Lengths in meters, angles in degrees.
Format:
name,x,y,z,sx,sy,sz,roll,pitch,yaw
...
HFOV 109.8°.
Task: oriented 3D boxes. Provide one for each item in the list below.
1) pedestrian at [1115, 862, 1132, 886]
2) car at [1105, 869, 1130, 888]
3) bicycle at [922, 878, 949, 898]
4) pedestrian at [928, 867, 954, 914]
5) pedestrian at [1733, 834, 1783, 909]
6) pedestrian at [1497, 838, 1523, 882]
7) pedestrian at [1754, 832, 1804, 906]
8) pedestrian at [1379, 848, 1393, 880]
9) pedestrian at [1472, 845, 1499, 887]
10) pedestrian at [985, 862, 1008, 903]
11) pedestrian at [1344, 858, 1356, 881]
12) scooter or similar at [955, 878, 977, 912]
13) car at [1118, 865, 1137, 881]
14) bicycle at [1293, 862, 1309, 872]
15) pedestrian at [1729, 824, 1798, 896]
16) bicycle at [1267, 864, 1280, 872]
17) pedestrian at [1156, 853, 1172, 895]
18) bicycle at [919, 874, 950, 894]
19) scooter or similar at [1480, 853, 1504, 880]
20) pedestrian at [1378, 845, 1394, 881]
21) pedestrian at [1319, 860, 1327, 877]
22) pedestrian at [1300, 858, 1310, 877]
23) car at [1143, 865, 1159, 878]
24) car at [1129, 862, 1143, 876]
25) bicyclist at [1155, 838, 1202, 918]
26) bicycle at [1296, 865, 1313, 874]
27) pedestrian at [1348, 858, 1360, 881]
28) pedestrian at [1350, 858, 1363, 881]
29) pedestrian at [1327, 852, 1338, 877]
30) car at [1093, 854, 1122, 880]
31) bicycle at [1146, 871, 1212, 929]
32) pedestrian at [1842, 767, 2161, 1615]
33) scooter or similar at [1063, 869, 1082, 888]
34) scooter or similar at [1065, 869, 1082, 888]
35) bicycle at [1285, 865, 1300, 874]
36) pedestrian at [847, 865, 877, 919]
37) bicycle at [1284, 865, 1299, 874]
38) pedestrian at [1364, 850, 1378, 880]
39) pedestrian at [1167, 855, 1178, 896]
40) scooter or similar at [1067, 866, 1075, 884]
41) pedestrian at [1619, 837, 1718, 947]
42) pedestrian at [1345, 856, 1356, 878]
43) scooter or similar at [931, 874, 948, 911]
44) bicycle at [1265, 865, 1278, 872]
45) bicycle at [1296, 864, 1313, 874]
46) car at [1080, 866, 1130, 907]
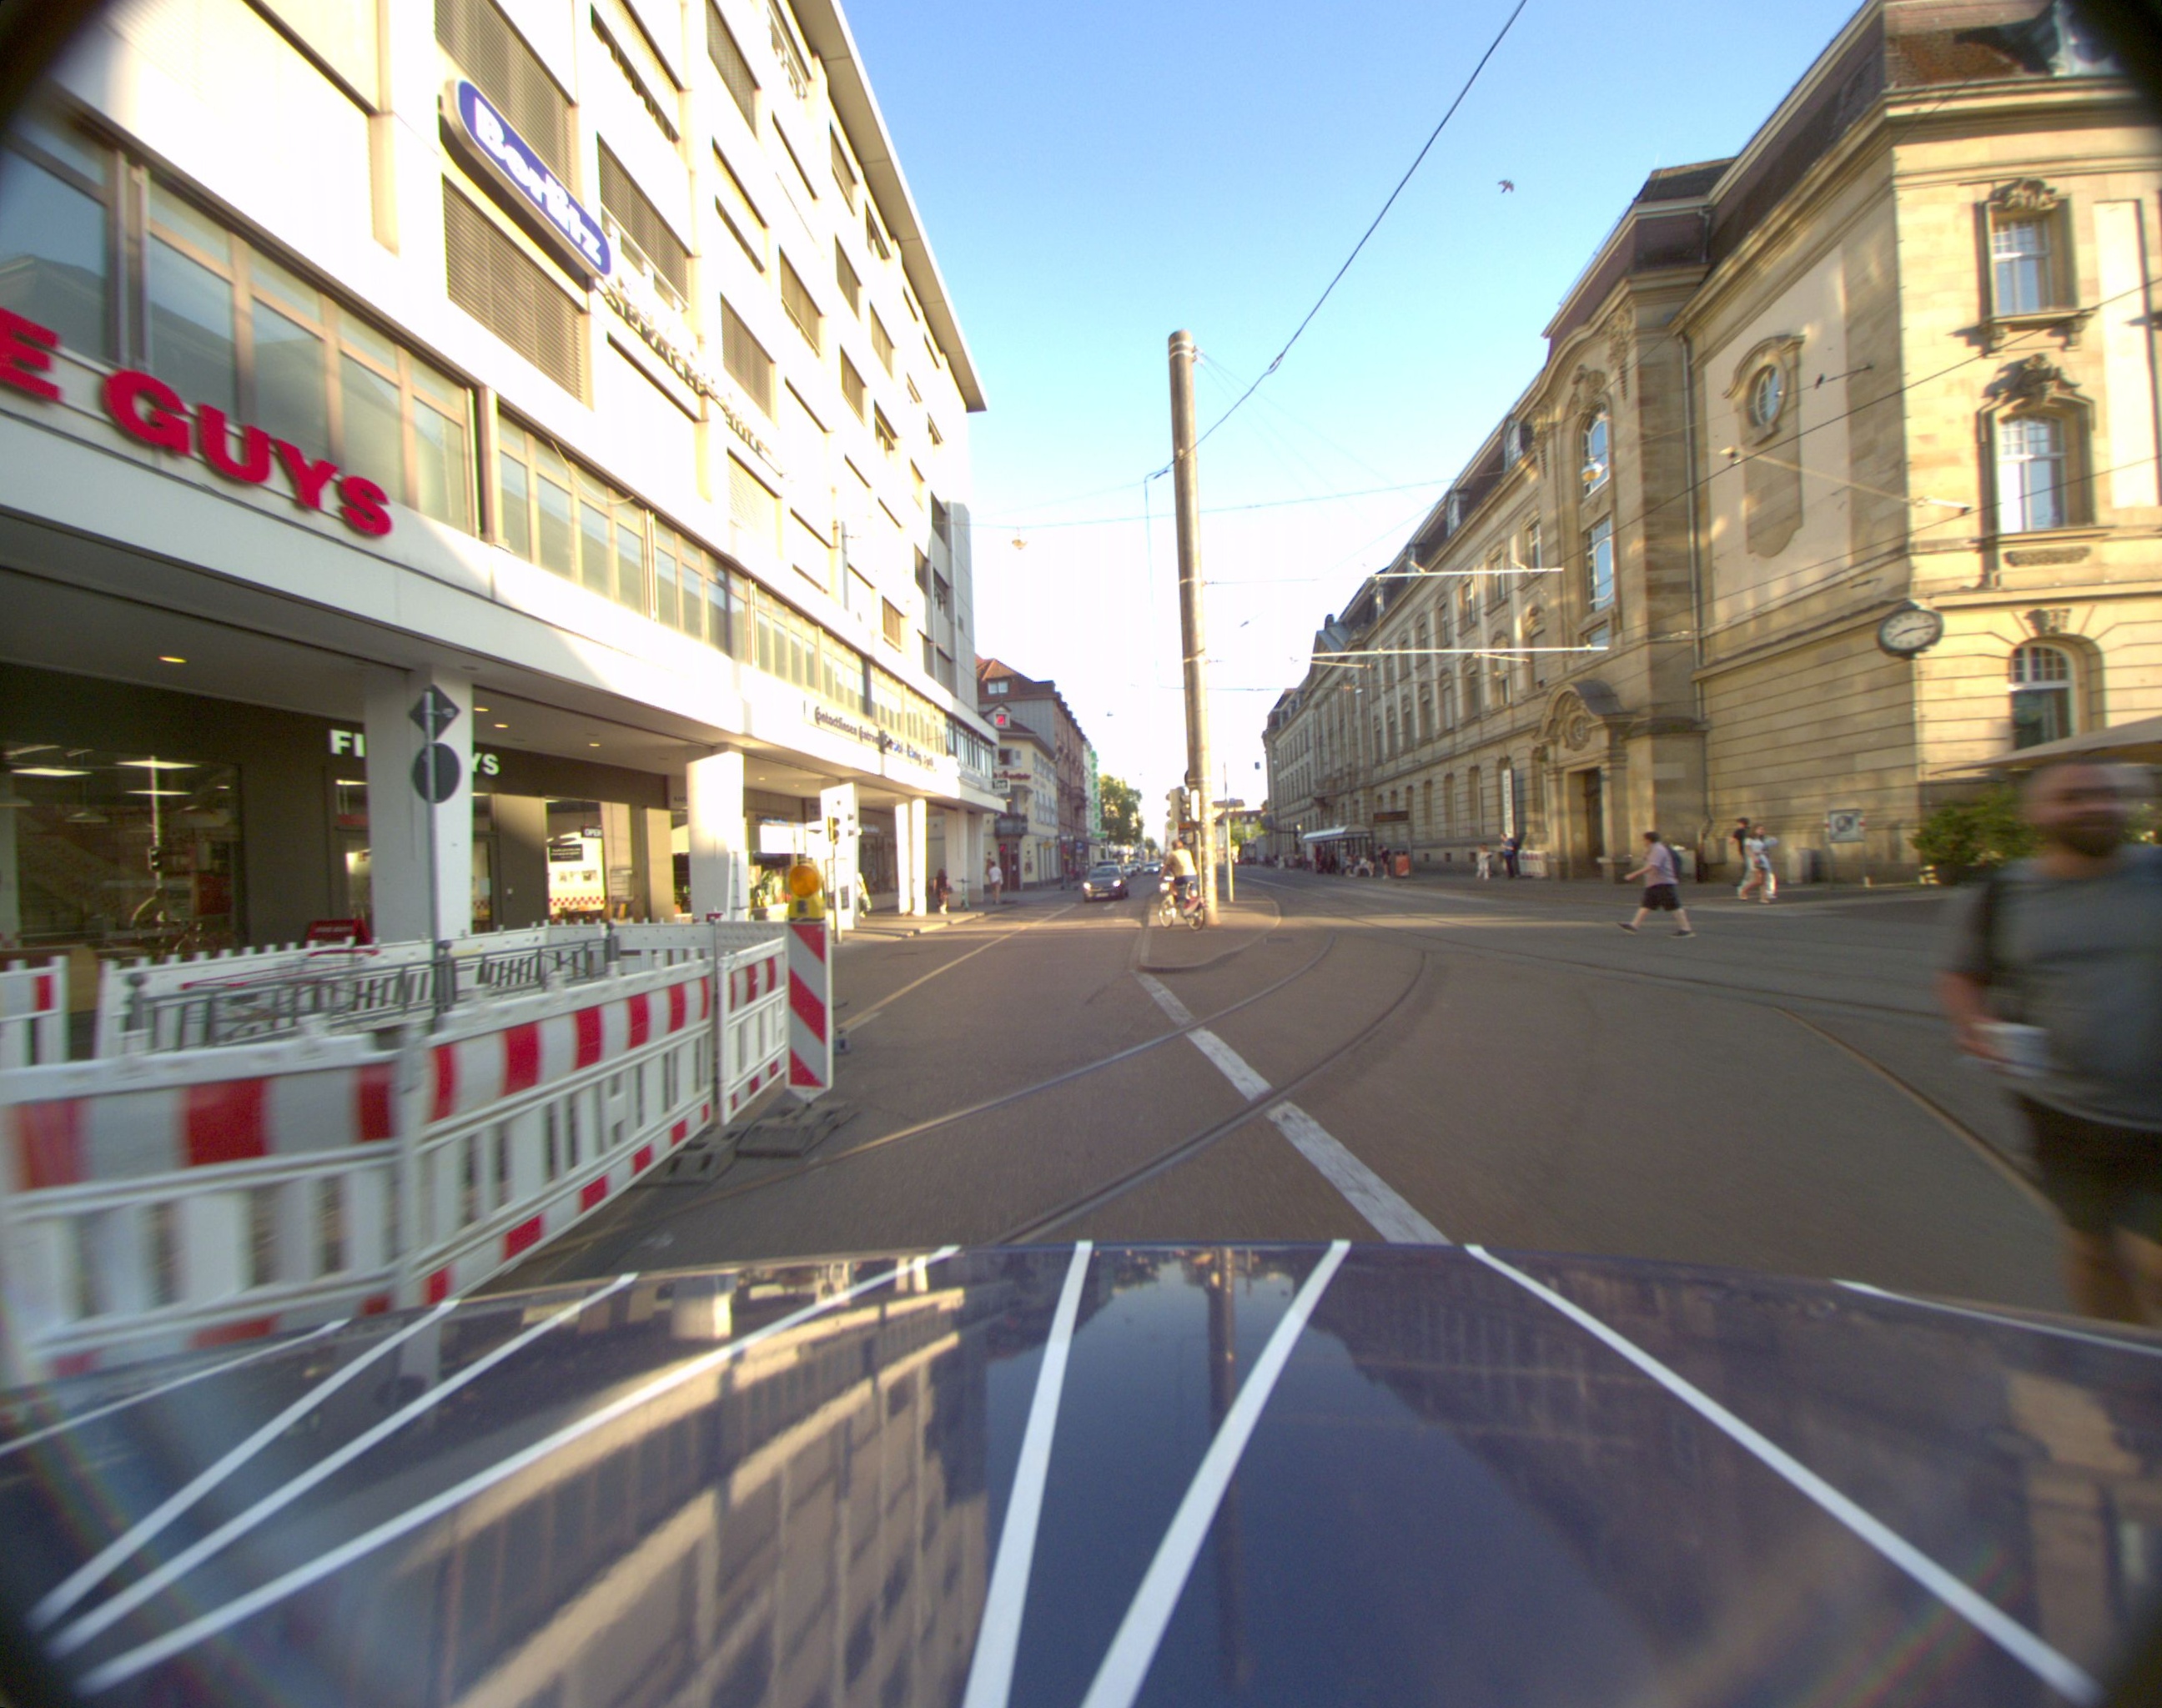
name,x,y,z,sx,sy,sz,roll,pitch,yaw
pedestrian,3.054,1.433,54.375,0.970,1.618,0.692,-3,-1,17
car,3.292,2.154,67.461,1.810,1.474,4.781,-4,-2,6
bicycle,-7.873,1.865,41.170,0.771,1.022,1.849,-3,-3,9
pedestrian,-5.115,1.330,27.825,0.702,1.683,0.540,-3,0,-32
pedestrian,14.111,0.363,15.840,0.527,1.516,0.502,-2,-1,-9
pedestrian,17.709,0.265,31.395,0.622,1.765,0.706,-3,-1,3
pedestrian,14.787,0.319,16.109,0.519,1.516,0.501,-2,-1,-4
pedestrian,16.282,0.531,40.569,0.518,1.636,0.638,-2,0,10
pedestrian,16.144,0.476,30.338,0.701,1.604,0.631,-3,0,5
pedestrian,-3.808,1.290,34.334,0.700,1.804,0.853,-3,-1,13
pedestrian,15.817,0.890,44.763,0.518,1.319,0.638,-2,0,10
scooter or similar,-4.294,1.522,28.410,0.506,1.227,1.180,-2,-1,6
car,5.028,2.060,81.325,1.736,1.502,4.868,-4,-1,6
bicycle,23.053,1.359,79.583,1.578,0.868,0.451,-3,0,11
pedestrian,15.973,0.148,17.812,0.690,1.618,0.972,-3,-1,5
bicycle,24.703,1.793,97.495,1.578,0.868,0.451,-3,0,11
pedestrian,3.528,0.839,32.304,0.540,1.757,0.595,-3,0,11
bicycle,-9.352,1.916,48.428,0.770,1.174,1.850,-4,-1,37
scooter or similar,18.799,0.567,34.756,0.487,1.174,1.294,-3,-1,8
pedestrian,14.925,0.445,37.204,0.467,1.765,0.562,-3,-1,43
pedestrian,16.838,1.010,52.871,0.365,1.193,0.430,-3,0,12
pedestrian,19.522,1.146,66.216,0.573,1.596,0.439,-3,0,-39
car,8.522,2.117,92.635,1.810,1.474,4.286,-4,-2,6
car,8.612,2.317,118.870,1.856,2.055,5.219,-2,-1,6
bicyclist,2.007,0.492,15.715,0.611,1.583,0.790,-2,0,-21
bicycle,22.384,1.552,76.137,1.578,0.868,0.451,-3,0,11
pedestrian,15.800,0.880,43.941,0.518,1.319,0.638,-2,0,10
pedestrian,15.670,0.877,43.183,0.518,1.319,0.638,-2,0,10
pedestrian,16.419,0.676,49.530,0.518,1.640,0.639,-2,0,28
car,2.212,1.017,61.845,1.880,1.912,4.702,-4,-1,6
bicycle,2.013,0.923,15.751,0.630,1.097,1.622,-1,0,-21
pedestrian,2.437,0.669,1.781,0.747,1.690,0.609,-2,0,-18
scooter or similar,-0.556,1.563,48.909,1.177,1.227,0.317,-1,0,22
scooter or similar,-0.504,1.578,49.606,1.049,1.227,0.272,-1,0,-26
bicycle,23.074,1.654,82.891,1.578,0.868,0.451,-3,0,11
pedestrian,-7.566,1.316,26.298,0.700,1.804,0.631,-3,0,6
bicycle,23.266,1.749,83.974,1.578,0.868,0.451,-3,0,11
pedestrian,15.528,0.597,40.646,0.518,1.560,0.638,-2,0,10
pedestrian,3.712,0.852,30.819,0.357,1.632,0.503,-3,0,4
scooter or similar,-0.708,1.496,53.508,0.272,1.227,1.309,-1,0,10
pedestrian,9.135,0.582,11.839,0.835,1.618,0.803,-2,-1,-7
pedestrian,16.694,0.818,47.118,0.518,1.319,0.638,-2,0,10
scooter or similar,-5.949,1.612,32.008,0.314,1.479,1.316,-2,-1,6
bicycle,25.188,1.953,100.609,1.578,0.868,0.451,-3,0,11
bicycle,22.929,1.555,77.962,1.578,0.868,0.451,-3,0,11
car,1.077,1.328,32.421,1.738,1.494,4.002,-3,-1,6
